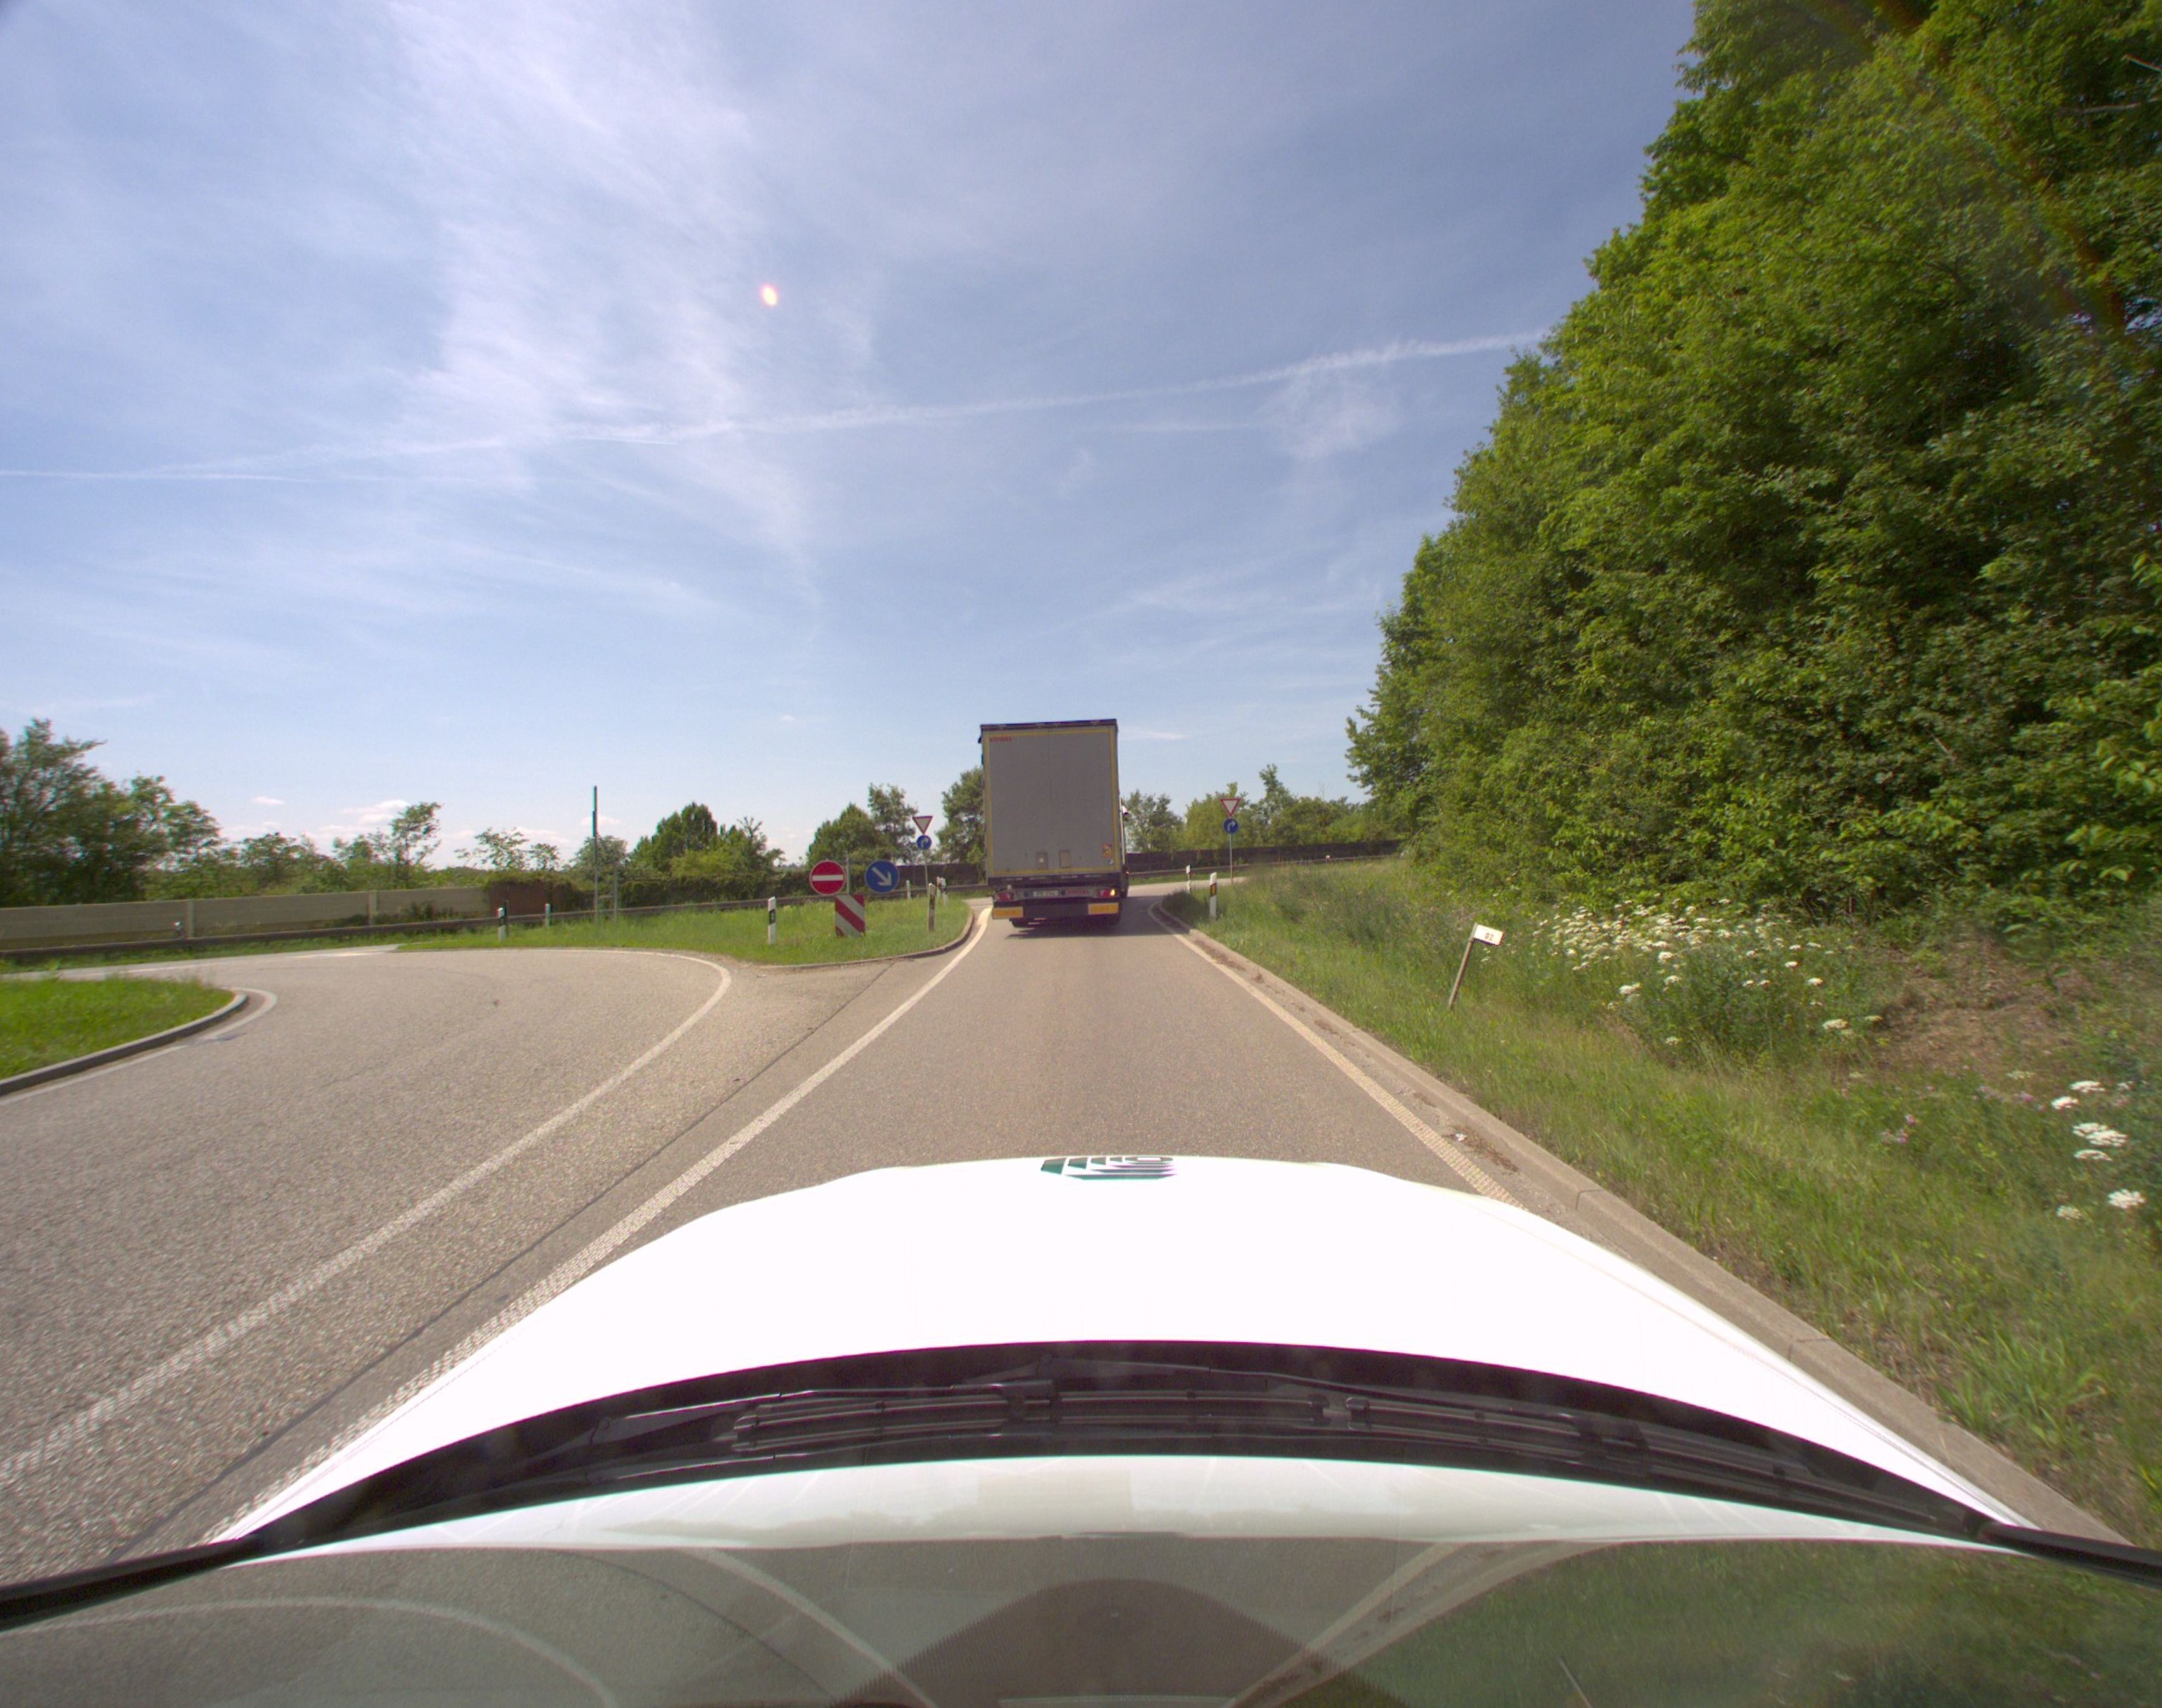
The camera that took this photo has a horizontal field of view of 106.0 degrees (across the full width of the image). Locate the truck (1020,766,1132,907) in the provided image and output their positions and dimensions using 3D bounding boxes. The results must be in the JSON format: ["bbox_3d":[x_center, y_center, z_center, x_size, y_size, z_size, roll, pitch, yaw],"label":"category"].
[{"bbox_3d":[0.058,-0.474,28.586,3.138,4.225,7.131,-2,-1,5],"label":"truck"}]

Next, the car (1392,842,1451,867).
[{"bbox_3d":[22.352,0.028,53.418,4.017,1.486,1.653,-2,-1,-35],"label":"car"}]

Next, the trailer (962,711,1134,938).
[{"bbox_3d":[-0.376,-0.468,21.625,3.015,4.035,13.357,-2,-1,2],"label":"trailer"}]
